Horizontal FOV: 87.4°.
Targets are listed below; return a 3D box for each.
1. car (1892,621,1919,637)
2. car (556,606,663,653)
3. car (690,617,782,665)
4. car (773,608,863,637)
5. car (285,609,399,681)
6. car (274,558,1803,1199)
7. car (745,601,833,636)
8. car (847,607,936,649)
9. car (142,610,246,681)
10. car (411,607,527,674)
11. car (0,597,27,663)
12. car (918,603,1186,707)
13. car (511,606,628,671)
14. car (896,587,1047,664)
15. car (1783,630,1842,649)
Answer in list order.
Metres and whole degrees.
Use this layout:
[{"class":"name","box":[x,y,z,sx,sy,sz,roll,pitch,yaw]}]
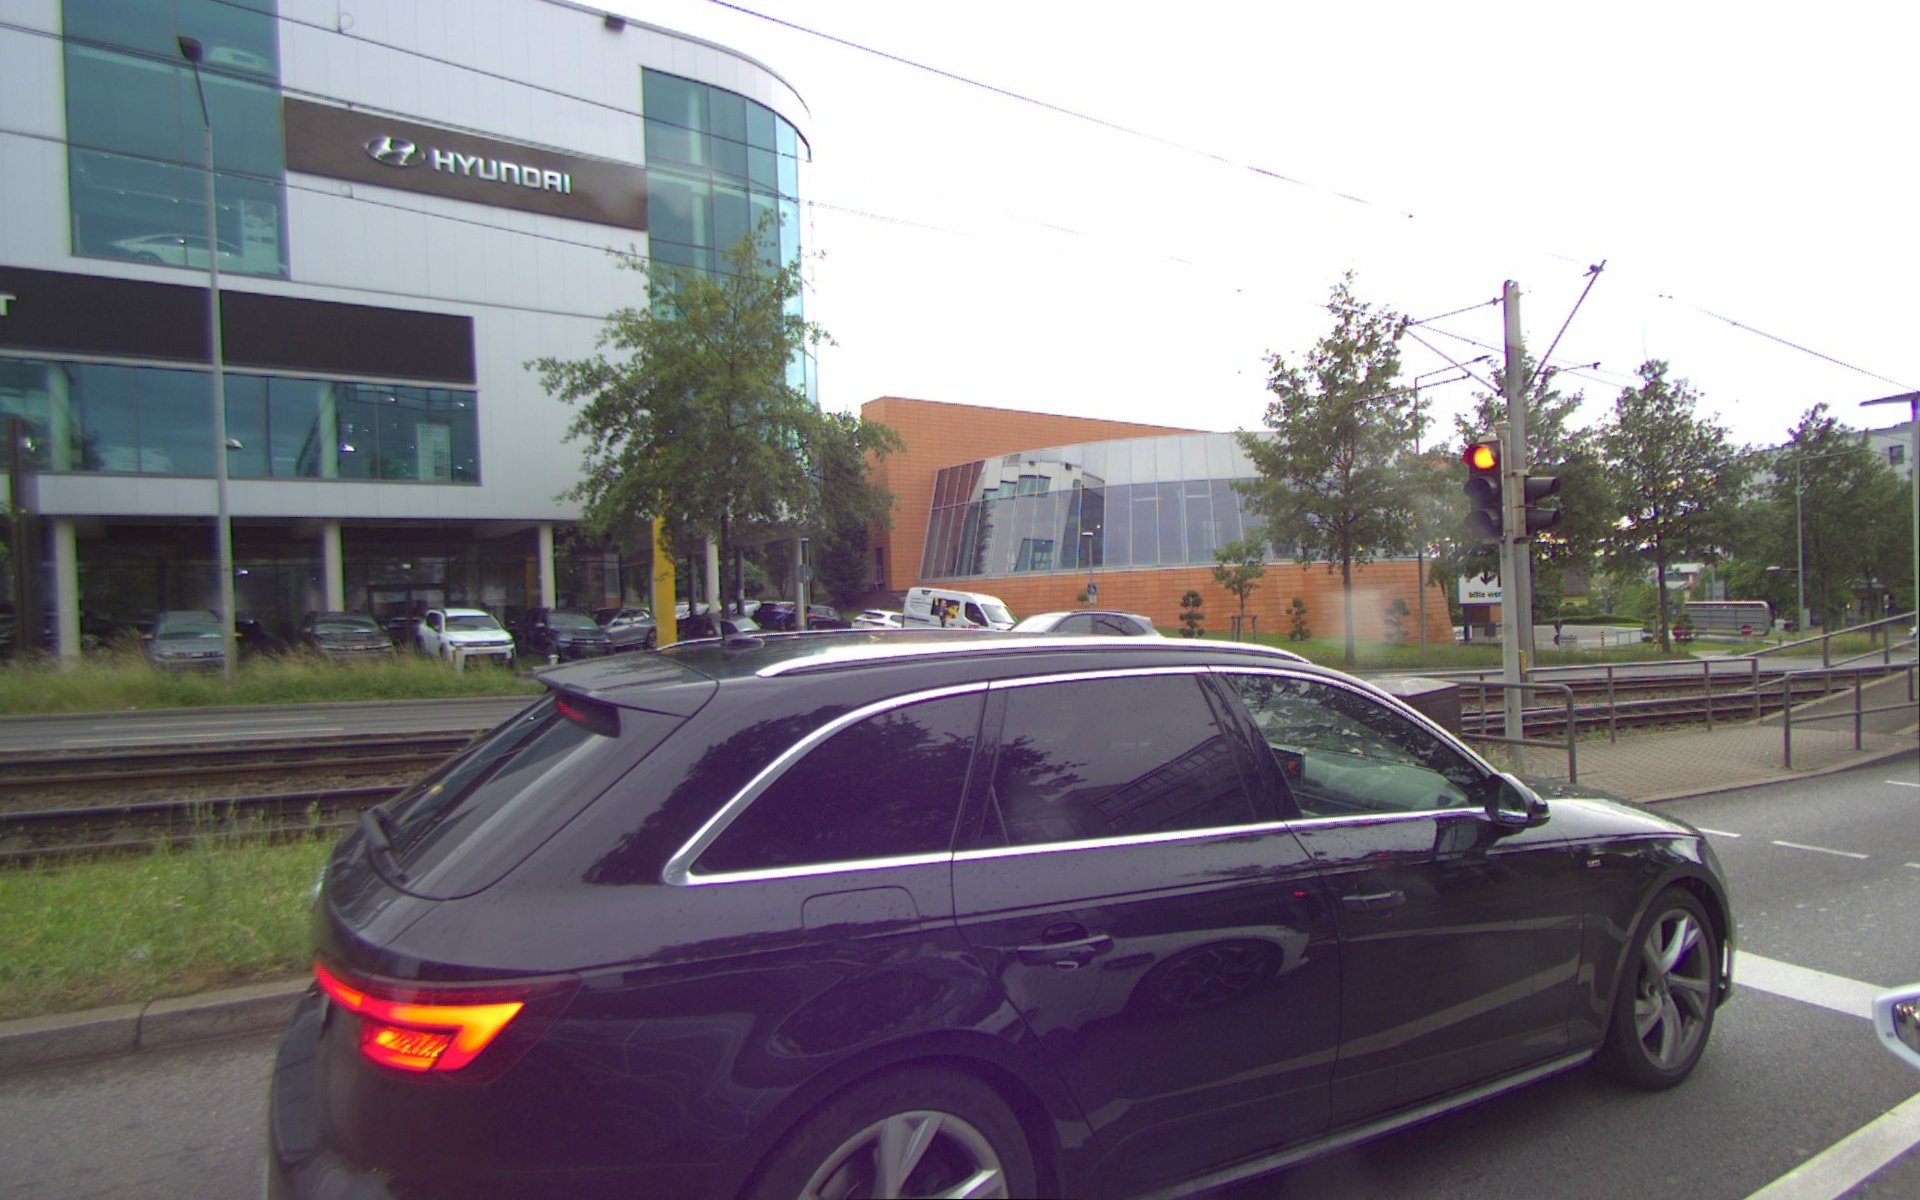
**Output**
[{"class":"car","box":[88.198,2.667,91.997,1.645,1.455,4.050,2,-4,-44]},{"class":"car","box":[-12.346,1.018,35.627,1.691,1.572,3.587,0,-1,20]},{"class":"car","box":[-7.189,1.275,32.051,1.565,1.409,3.619,0,-1,-36]},{"class":"car","box":[-6.728,1.051,47.798,1.969,1.297,3.982,0,-1,39]},{"class":"car","box":[-16.469,1.125,26.677,1.984,1.571,4.324,1,1,-40]},{"class":"car","box":[0.617,0.724,3.173,4.461,1.486,1.772,1,-1,-31]},{"class":"car","box":[-8.384,0.899,49.366,1.969,1.653,3.982,0,-1,39]},{"class":"car","box":[-2.854,1.145,42.448,1.703,1.688,3.734,0,-1,38]},{"class":"car","box":[-19.378,1.085,25.351,1.917,1.479,3.974,1,1,-40]},{"class":"car","box":[-14.012,1.088,28.533,1.984,1.571,4.324,1,1,-40]},{"class":"car","box":[-27.853,0.808,26.346,1.962,1.806,4.544,0,-1,23]},{"class":"car","box":[1.779,0.996,18.973,4.783,1.742,1.985,1,-3,-30]},{"class":"car","box":[-11.795,1.087,30.151,1.984,1.637,4.324,1,1,-40]},{"class":"car","box":[0.366,0.895,38.399,5.544,2.616,2.392,3,1,43]},{"class":"car","box":[66.739,3.085,78.708,1.408,1.405,3.371,0,0,-13]}]
